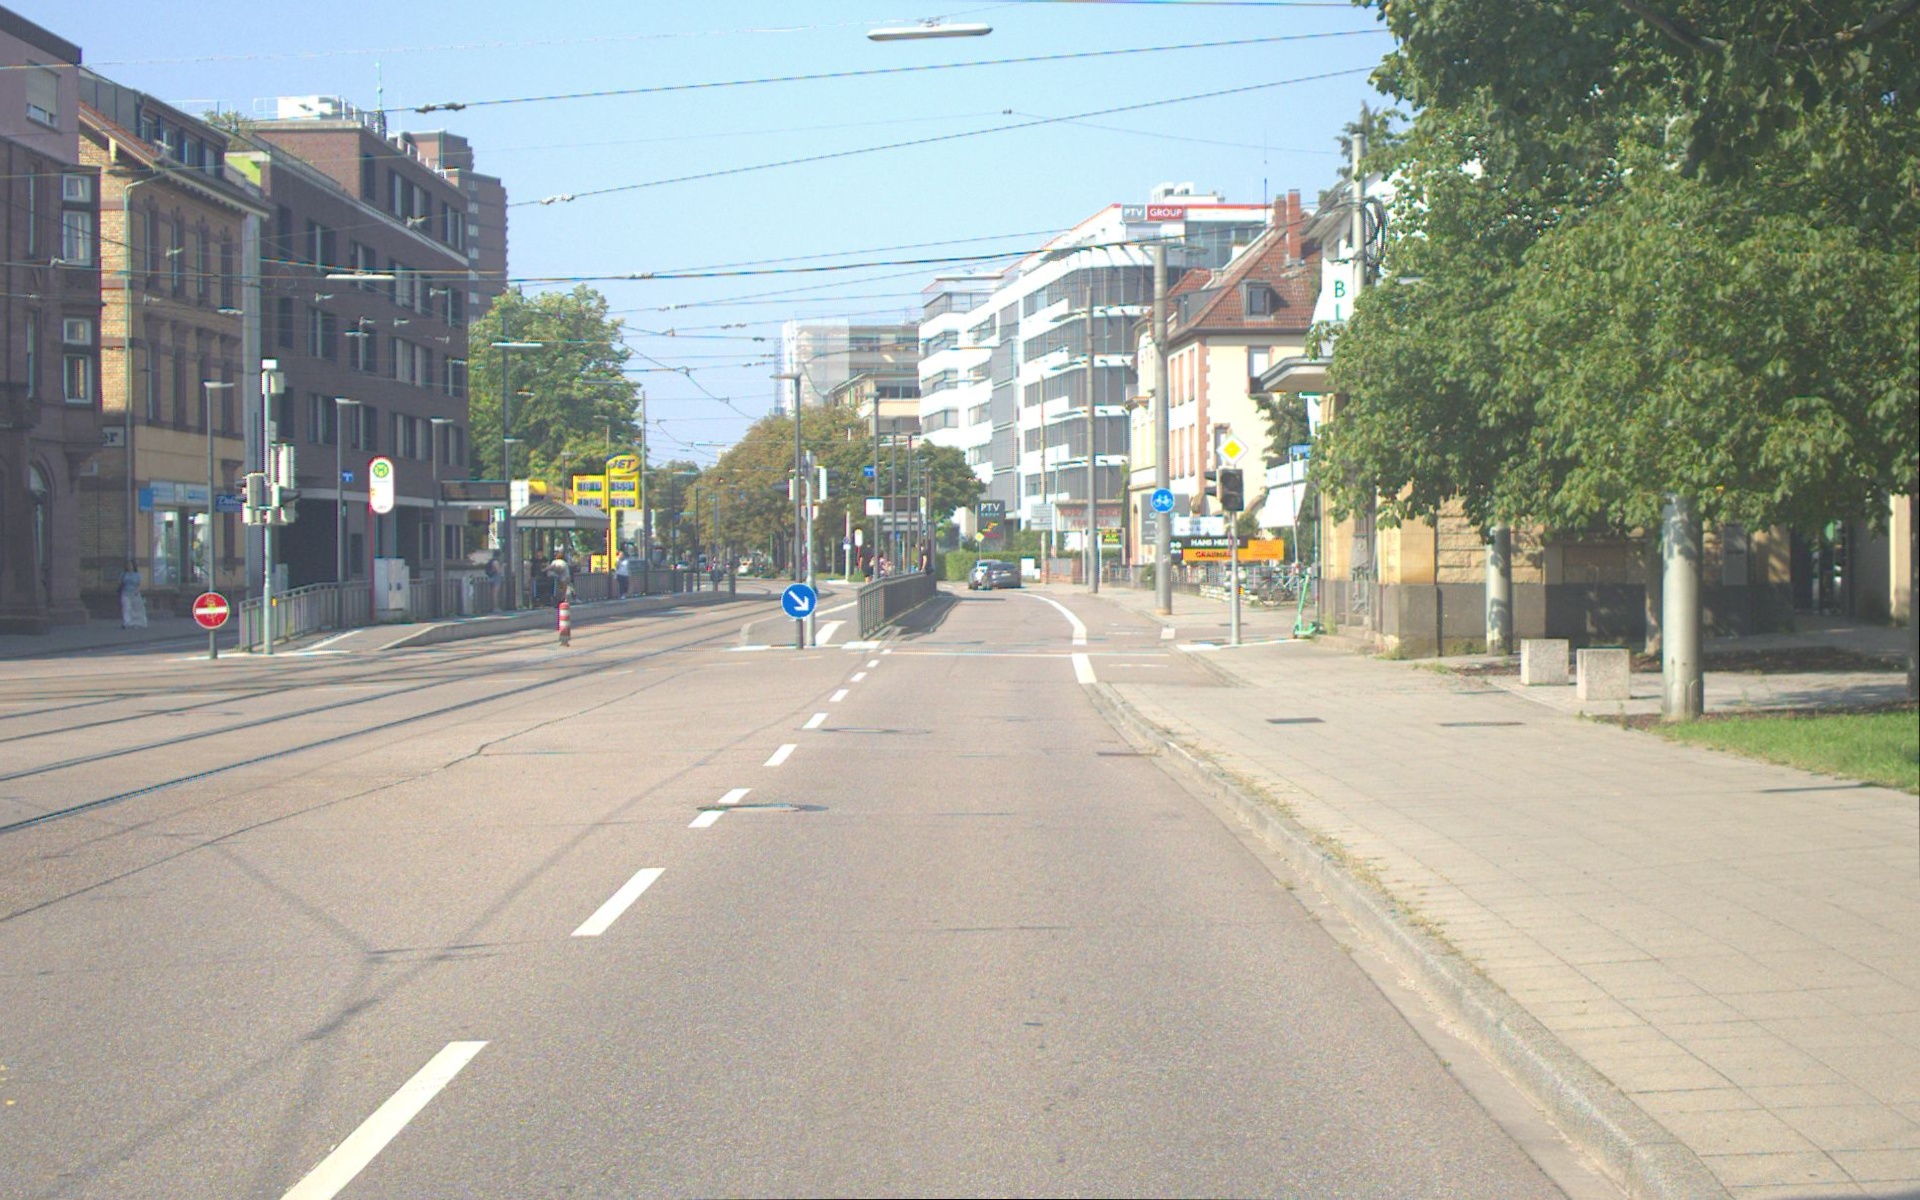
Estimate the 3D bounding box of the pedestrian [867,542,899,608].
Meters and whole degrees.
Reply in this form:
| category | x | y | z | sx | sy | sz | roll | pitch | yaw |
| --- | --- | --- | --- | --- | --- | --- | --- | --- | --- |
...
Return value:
| category | x | y | z | sx | sy | sz | roll | pitch | yaw |
| --- | --- | --- | --- | --- | --- | --- | --- | --- | --- |
| pedestrian | -2.024 | -0.662 | 90.506 | 0.720 | 1.697 | 0.884 | -2 | 0 | 2 |

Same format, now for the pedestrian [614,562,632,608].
| category | x | y | z | sx | sy | sz | roll | pitch | yaw |
| --- | --- | --- | --- | --- | --- | --- | --- | --- | --- |
| pedestrian | -11.199 | -0.501 | 114.294 | 0.532 | 1.525 | 0.702 | -2 | 0 | -5 |

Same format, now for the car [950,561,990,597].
| category | x | y | z | sx | sy | sz | roll | pitch | yaw |
| --- | --- | --- | --- | --- | --- | --- | --- | --- | --- |
| car | 0.560 | -1.162 | 187.251 | 2.011 | 1.852 | 4.000 | -2 | 0 | 2 |

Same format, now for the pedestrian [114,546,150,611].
| category | x | y | z | sx | sy | sz | roll | pitch | yaw |
| --- | --- | --- | --- | --- | --- | --- | --- | --- | --- |
| pedestrian | -20.025 | -0.510 | 83.179 | 0.483 | 1.555 | 0.886 | 1 | -1 | 12 |

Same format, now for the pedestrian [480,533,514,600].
| category | x | y | z | sx | sy | sz | roll | pitch | yaw |
| --- | --- | --- | --- | --- | --- | --- | --- | --- | --- |
| pedestrian | -12.108 | -0.878 | 89.914 | 0.708 | 1.717 | 0.799 | -2 | 0 | 2 |

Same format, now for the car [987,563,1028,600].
| category | x | y | z | sx | sy | sz | roll | pitch | yaw |
| --- | --- | --- | --- | --- | --- | --- | --- | --- | --- |
| car | 2.503 | -0.984 | 181.119 | 2.011 | 1.852 | 4.000 | -2 | 0 | 2 |

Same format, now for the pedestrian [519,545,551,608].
| category | x | y | z | sx | sy | sz | roll | pitch | yaw |
| --- | --- | --- | --- | --- | --- | --- | --- | --- | --- |
| pedestrian | -11.982 | -0.664 | 96.969 | 0.708 | 1.741 | 0.799 | -2 | 0 | 2 |

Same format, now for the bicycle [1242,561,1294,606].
| category | x | y | z | sx | sy | sz | roll | pitch | yaw |
| --- | --- | --- | --- | --- | --- | --- | --- | --- | --- |
| bicycle | 8.138 | -0.436 | 90.939 | 0.731 | 1.129 | 2.840 | -4 | 1 | -6 |

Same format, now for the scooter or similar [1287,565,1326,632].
| category | x | y | z | sx | sy | sz | roll | pitch | yaw |
| --- | --- | --- | --- | --- | --- | --- | --- | --- | --- |
| scooter or similar | 6.005 | -0.033 | 59.539 | 0.523 | 1.129 | 1.511 | -2 | 0 | 2 |
